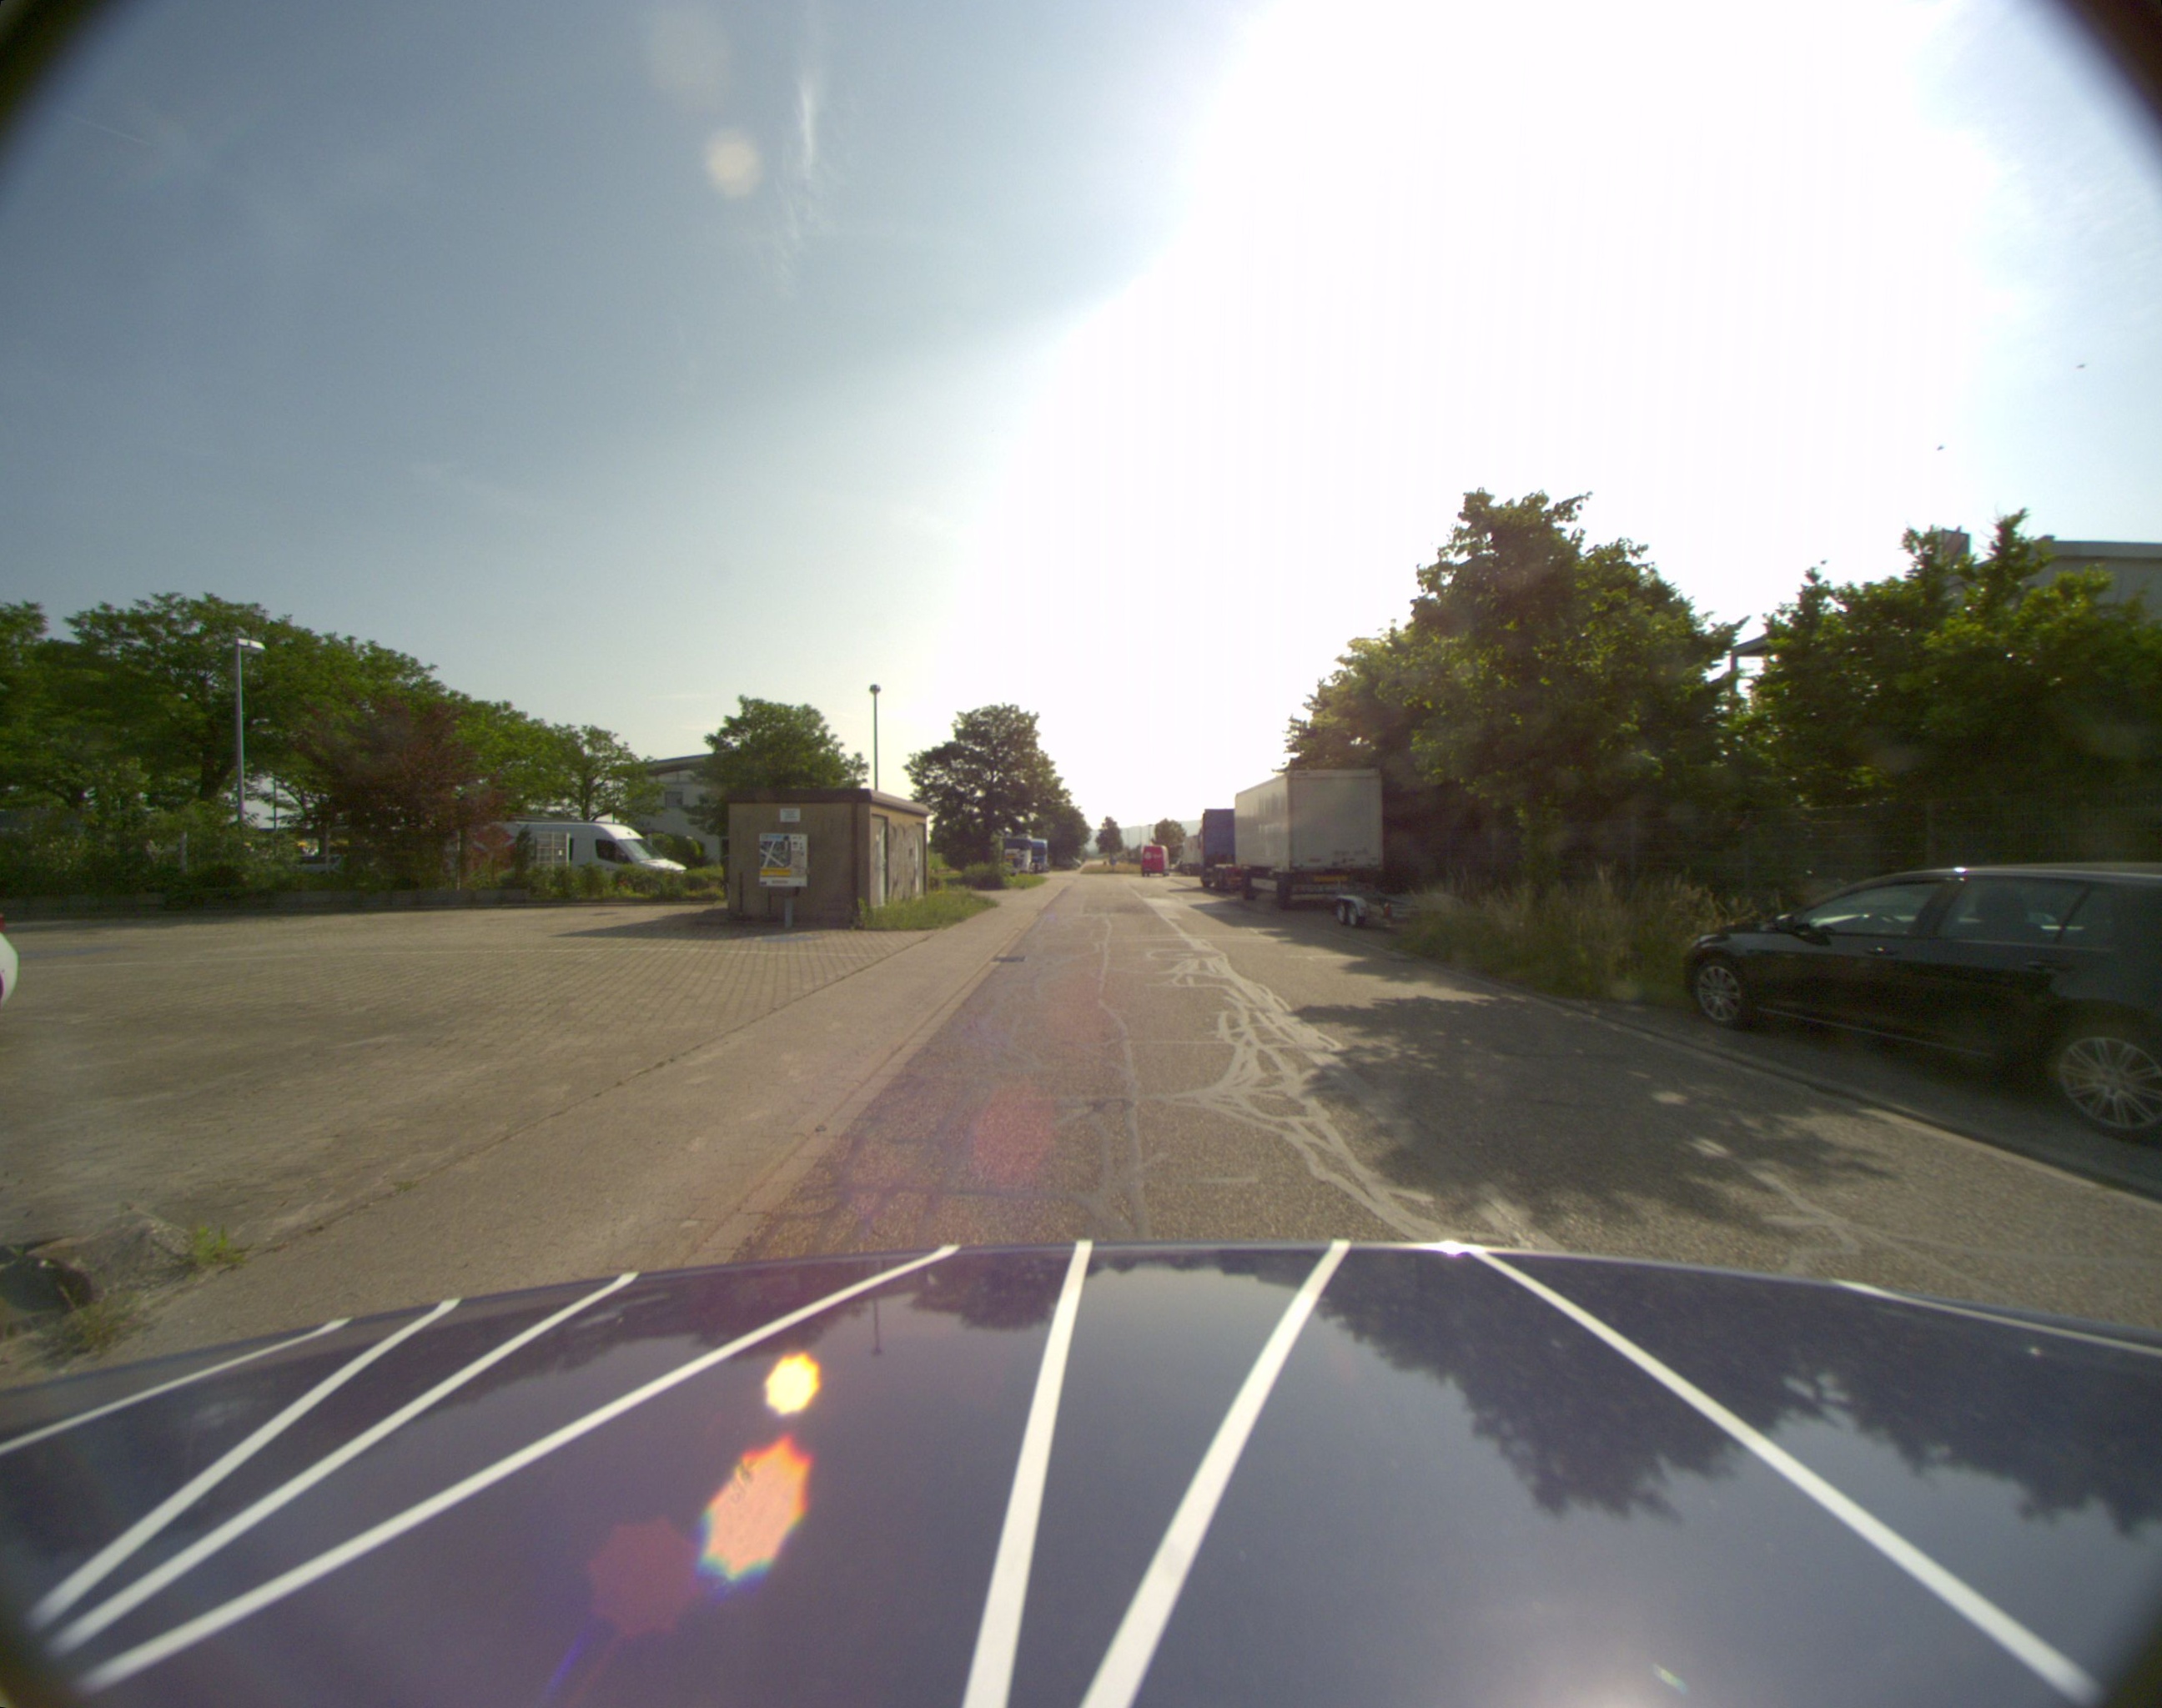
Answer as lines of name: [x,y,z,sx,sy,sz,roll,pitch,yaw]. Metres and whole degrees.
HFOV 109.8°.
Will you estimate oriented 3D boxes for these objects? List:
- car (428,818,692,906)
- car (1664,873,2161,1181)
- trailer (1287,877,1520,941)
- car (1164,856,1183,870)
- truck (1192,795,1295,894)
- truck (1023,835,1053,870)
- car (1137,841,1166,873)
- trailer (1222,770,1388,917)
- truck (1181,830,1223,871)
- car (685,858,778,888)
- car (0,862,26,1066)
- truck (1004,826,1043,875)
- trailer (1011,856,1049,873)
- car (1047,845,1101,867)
car: [-16.573,0.238,24.510,6.742,2.524,2.280,-1,1,-4]
car: [6.354,0.915,5.214,1.691,1.461,4.094,0,0,3]
trailer: [6.810,1.107,17.170,2.655,0.979,6.243,1,0,1]
car: [11.081,1.087,91.295,1.735,1.573,3.967,-2,0,1]
truck: [7.121,-0.385,34.856,2.720,3.862,9.635,-1,0,1]
truck: [-5.008,-0.145,90.321,3.043,3.916,10.578,0,0,0]
car: [5.970,0.223,64.829,1.998,2.532,6.990,1,0,2]
trailer: [6.886,-0.282,25.176,2.706,3.862,9.765,-1,0,1]
truck: [11.951,-0.308,76.092,2.783,3.831,10.063,1,0,1]
car: [-17.442,0.937,38.099,4.045,1.455,1.797,0,0,-19]
car: [-7.799,0.796,3.349,1.695,1.457,4.254,0,0,-23]
truck: [-5.021,-0.312,67.973,2.559,3.958,8.581,2,0,1]
trailer: [-4.927,0.969,75.800,2.553,1.383,14.136,1,0,1]
car: [-1.127,0.270,119.366,8.151,3.217,2.663,-1,0,-4]
